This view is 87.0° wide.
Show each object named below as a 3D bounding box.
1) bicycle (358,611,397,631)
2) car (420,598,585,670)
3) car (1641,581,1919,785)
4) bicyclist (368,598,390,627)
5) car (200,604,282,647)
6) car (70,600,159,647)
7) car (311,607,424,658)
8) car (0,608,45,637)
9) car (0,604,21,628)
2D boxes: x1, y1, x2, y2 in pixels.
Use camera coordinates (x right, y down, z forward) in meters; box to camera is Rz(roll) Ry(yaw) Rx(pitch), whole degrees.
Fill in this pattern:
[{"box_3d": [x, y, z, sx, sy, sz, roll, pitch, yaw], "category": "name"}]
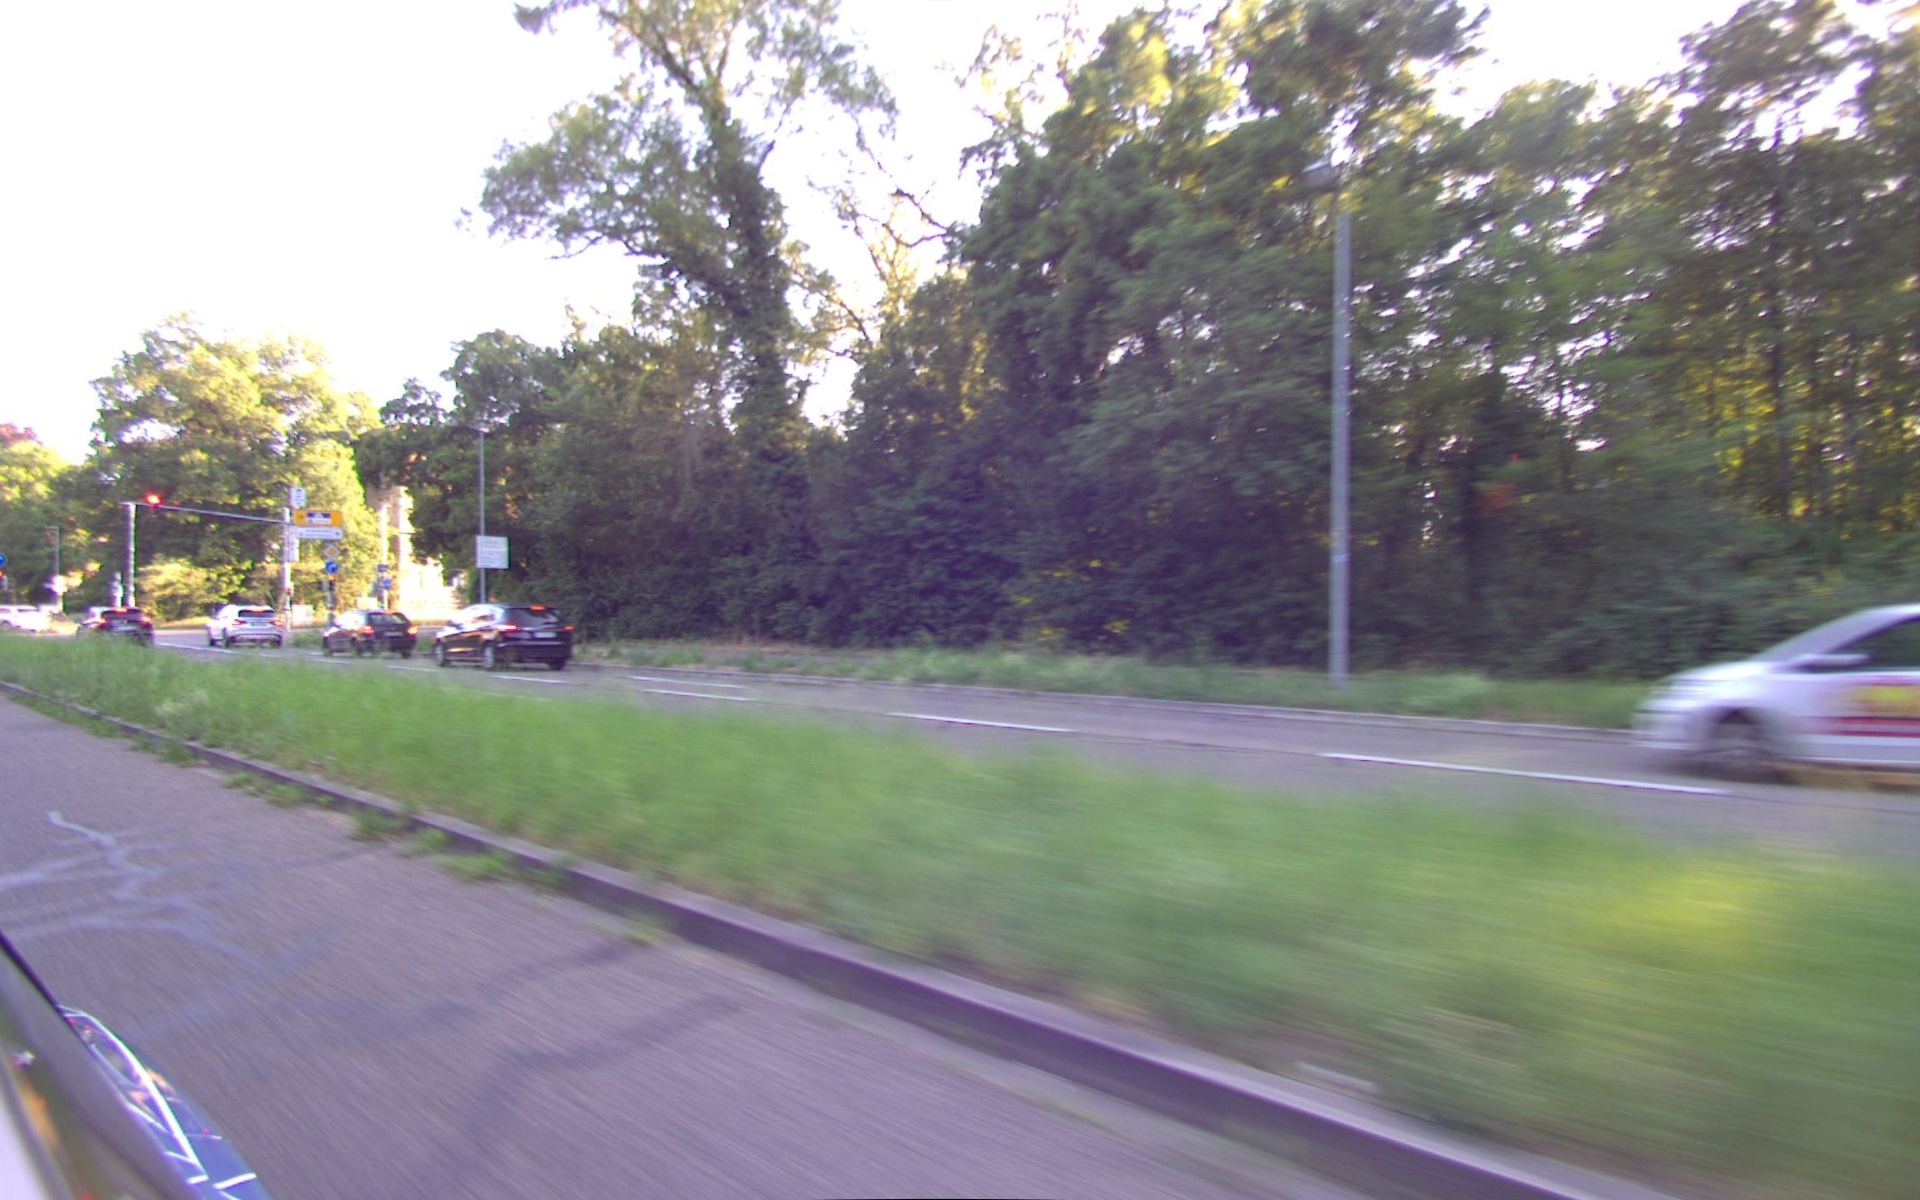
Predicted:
[{"box_3d": [-31.421, 1.133, 54.600, 0.563, 1.022, 1.785, -1, -1, 28], "category": "bicycle"}, {"box_3d": [-11.471, 0.814, 25.252, 4.648, 1.640, 1.973, -1, -2, 41], "category": "car"}, {"box_3d": [7.795, 0.626, 7.951, 3.810, 1.469, 1.972, 2, 0, 42], "category": "car"}, {"box_3d": [-31.391, 0.666, 54.666, 0.553, 1.581, 0.890, -1, -1, 28], "category": "bicyclist"}, {"box_3d": [-28.908, 1.023, 40.641, 4.642, 1.625, 1.801, -1, -3, 44], "category": "car"}, {"box_3d": [-30.991, 0.848, 37.057, 4.448, 1.640, 1.795, -1, -2, 41], "category": "car"}, {"box_3d": [-18.858, 1.012, 32.155, 4.230, 1.491, 1.804, -1, -2, 41], "category": "car"}, {"box_3d": [-56.340, 1.307, 59.216, 4.460, 1.648, 1.766, 0, -1, 8], "category": "car"}, {"box_3d": [-76.193, 1.268, 80.389, 4.117, 1.859, 1.838, -1, -1, 40], "category": "car"}]
